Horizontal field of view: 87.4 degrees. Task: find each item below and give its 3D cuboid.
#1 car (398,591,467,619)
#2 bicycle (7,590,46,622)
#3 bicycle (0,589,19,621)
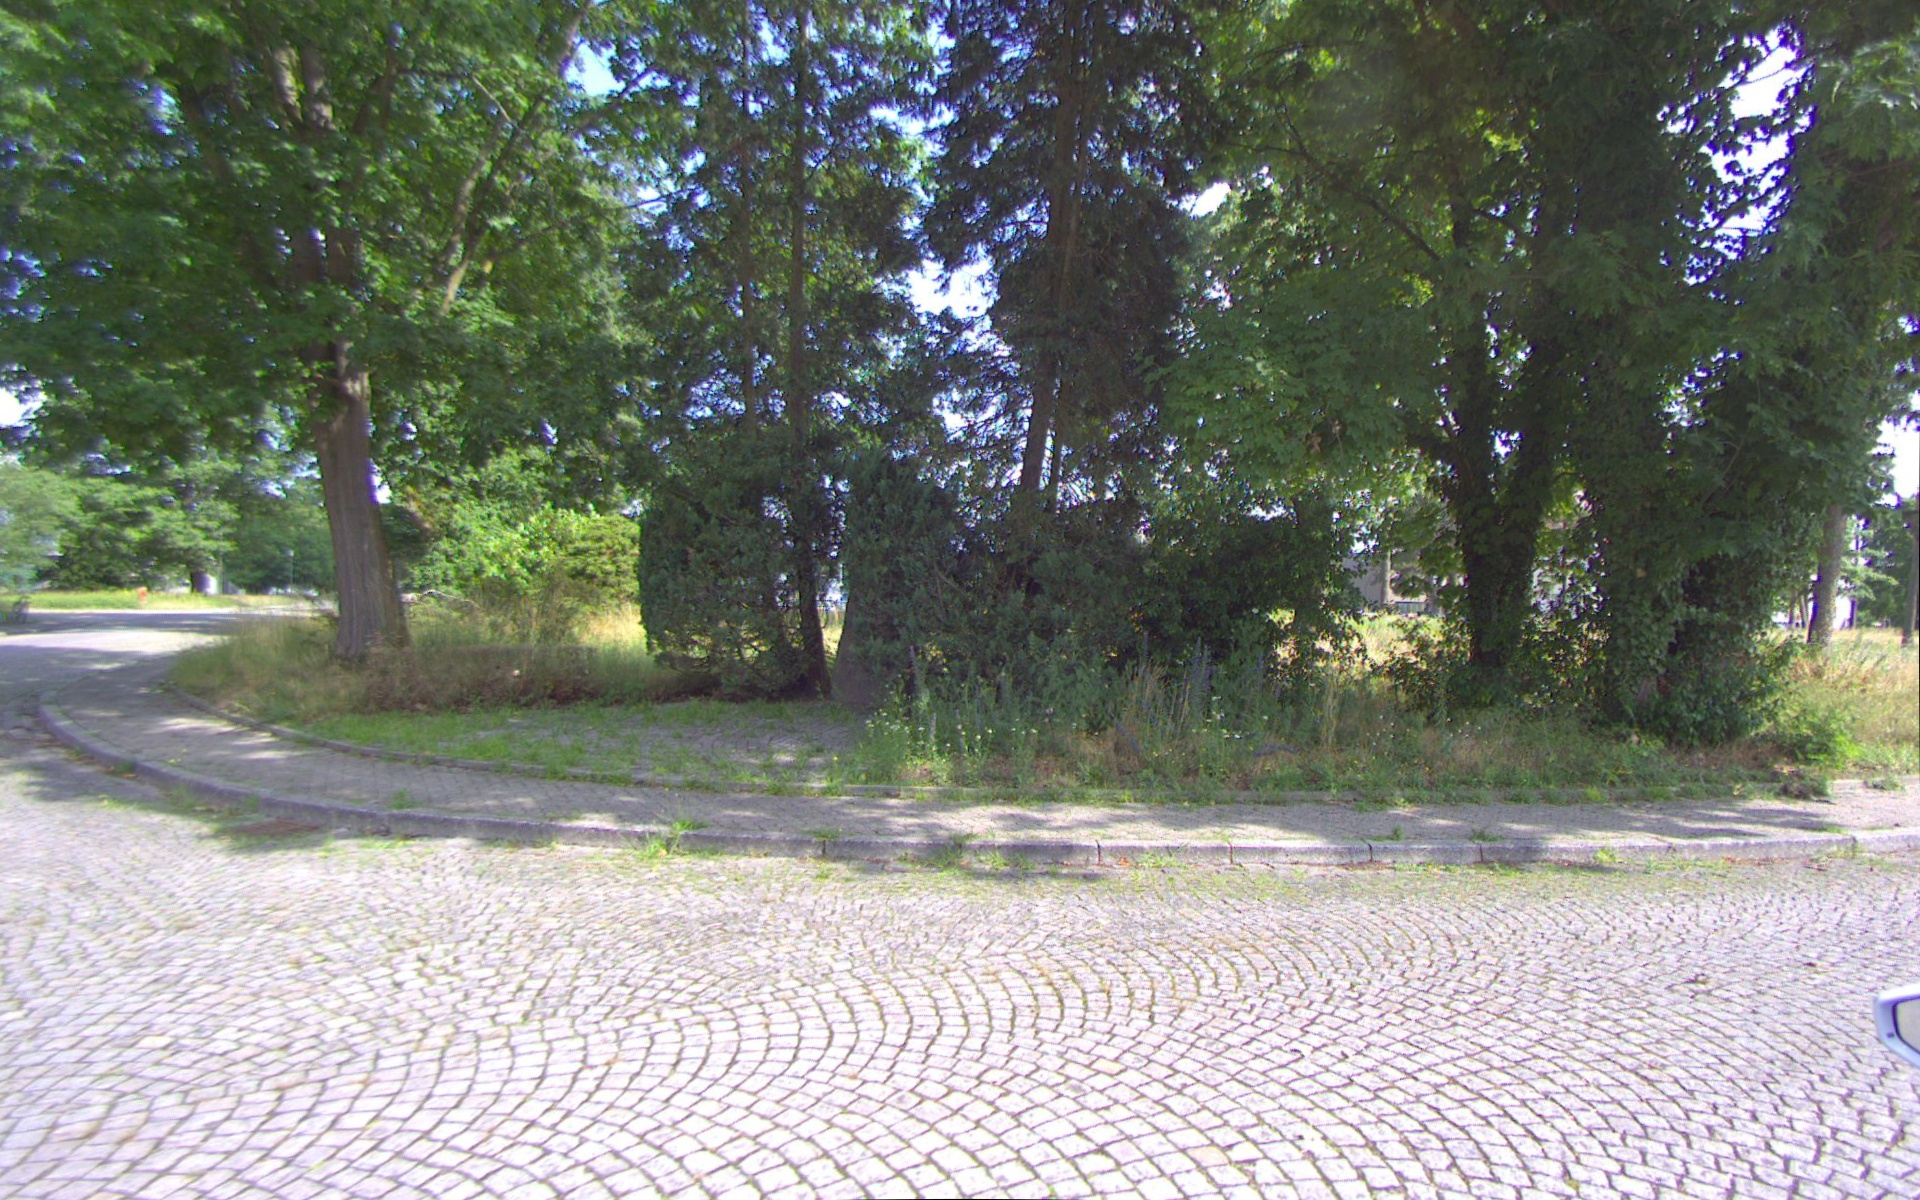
[{"bbox_3d":[-40.924,0.419,78.026,4.579,2.018,1.988,1,1,-24],"label":"car"},{"bbox_3d":[-33.939,0.201,36.537,0.553,1.113,2.197,1,0,-30],"label":"bicycle"},{"bbox_3d":[-35.100,0.164,36.699,0.553,1.113,2.197,1,0,-30],"label":"bicycle"}]
